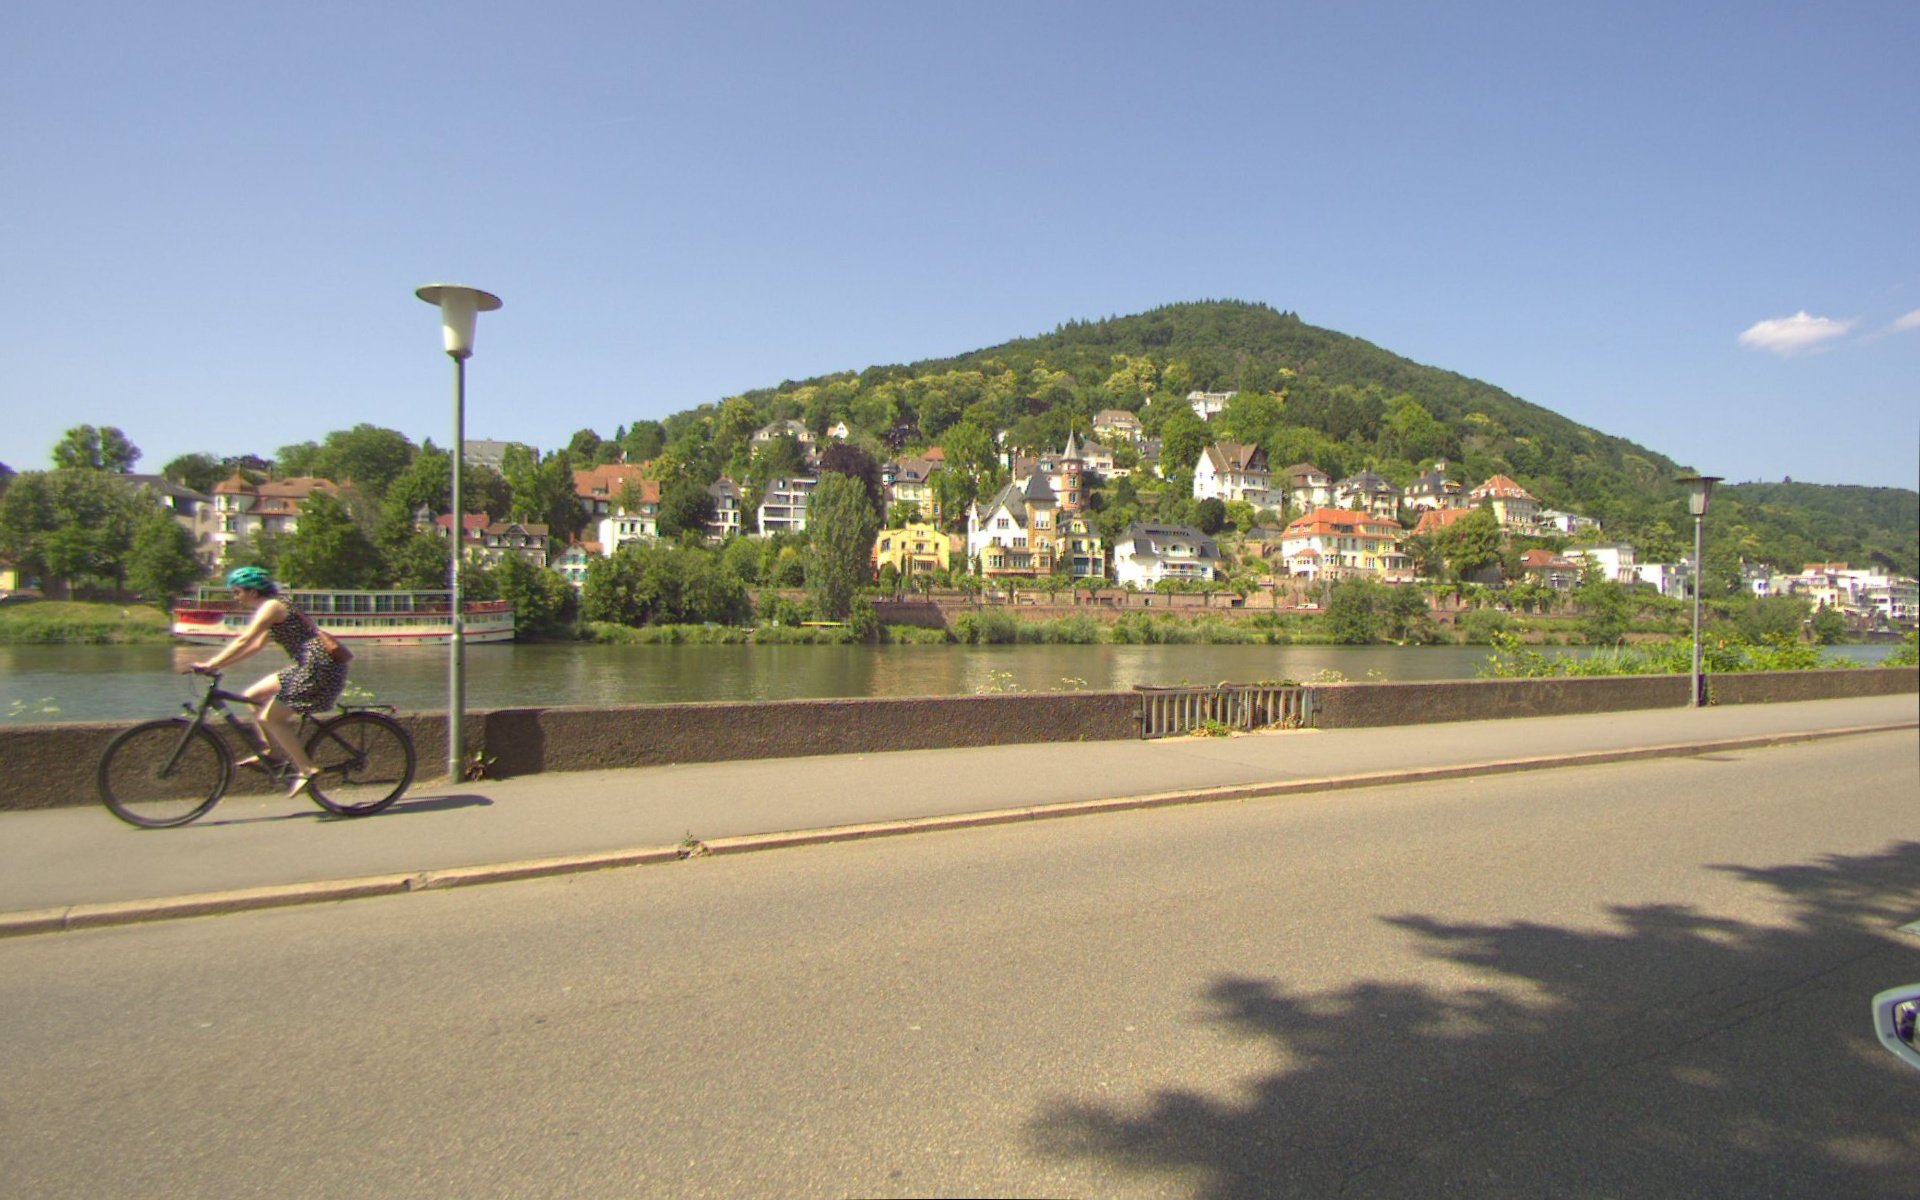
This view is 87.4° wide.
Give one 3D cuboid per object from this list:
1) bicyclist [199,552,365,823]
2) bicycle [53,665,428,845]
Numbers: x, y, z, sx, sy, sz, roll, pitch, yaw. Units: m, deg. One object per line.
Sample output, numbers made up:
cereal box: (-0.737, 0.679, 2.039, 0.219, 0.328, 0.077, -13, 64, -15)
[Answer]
bicyclist: (-4.551, 0.564, 6.807, 0.861, 1.695, 0.634, 1, -2, -31)
bicycle: (-4.713, 0.974, 6.768, 1.963, 1.025, 0.629, 1, -2, -31)
